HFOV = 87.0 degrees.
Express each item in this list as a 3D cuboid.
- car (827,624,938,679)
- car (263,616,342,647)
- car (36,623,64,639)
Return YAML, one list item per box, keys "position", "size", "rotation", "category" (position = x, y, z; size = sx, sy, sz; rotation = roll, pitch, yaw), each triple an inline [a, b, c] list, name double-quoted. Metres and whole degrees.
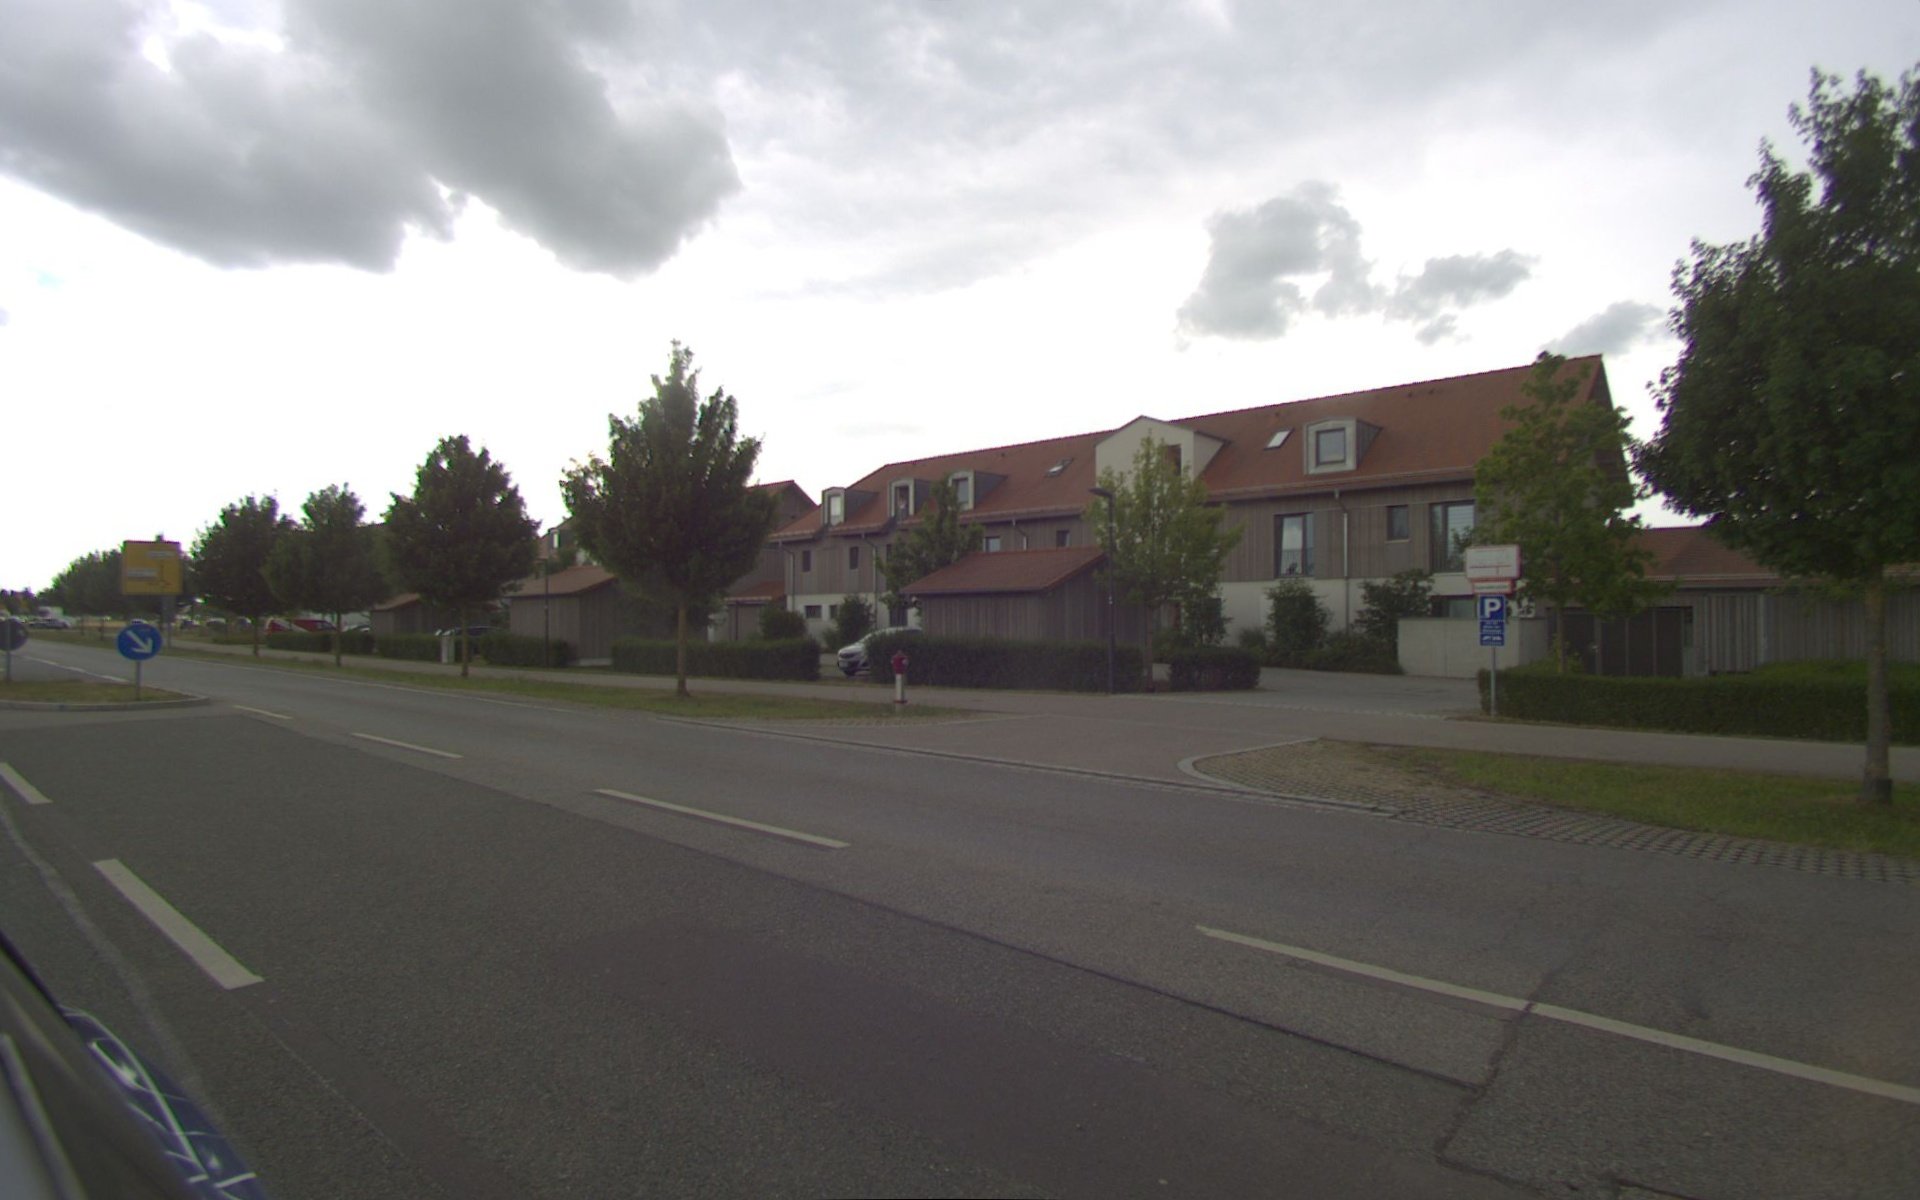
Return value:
- position: [-2.373, 1.561, 31.560]
  size: [1.300, 1.450, 3.546]
  rotation: [0, 1, 41]
  category: "car"
- position: [-48.277, 2.263, 74.346]
  size: [4.505, 2.029, 2.002]
  rotation: [-2, 1, -44]
  category: "car"
- position: [-105.898, 3.596, 117.763]
  size: [3.998, 1.796, 1.973]
  rotation: [0, 1, 41]
  category: "car"
